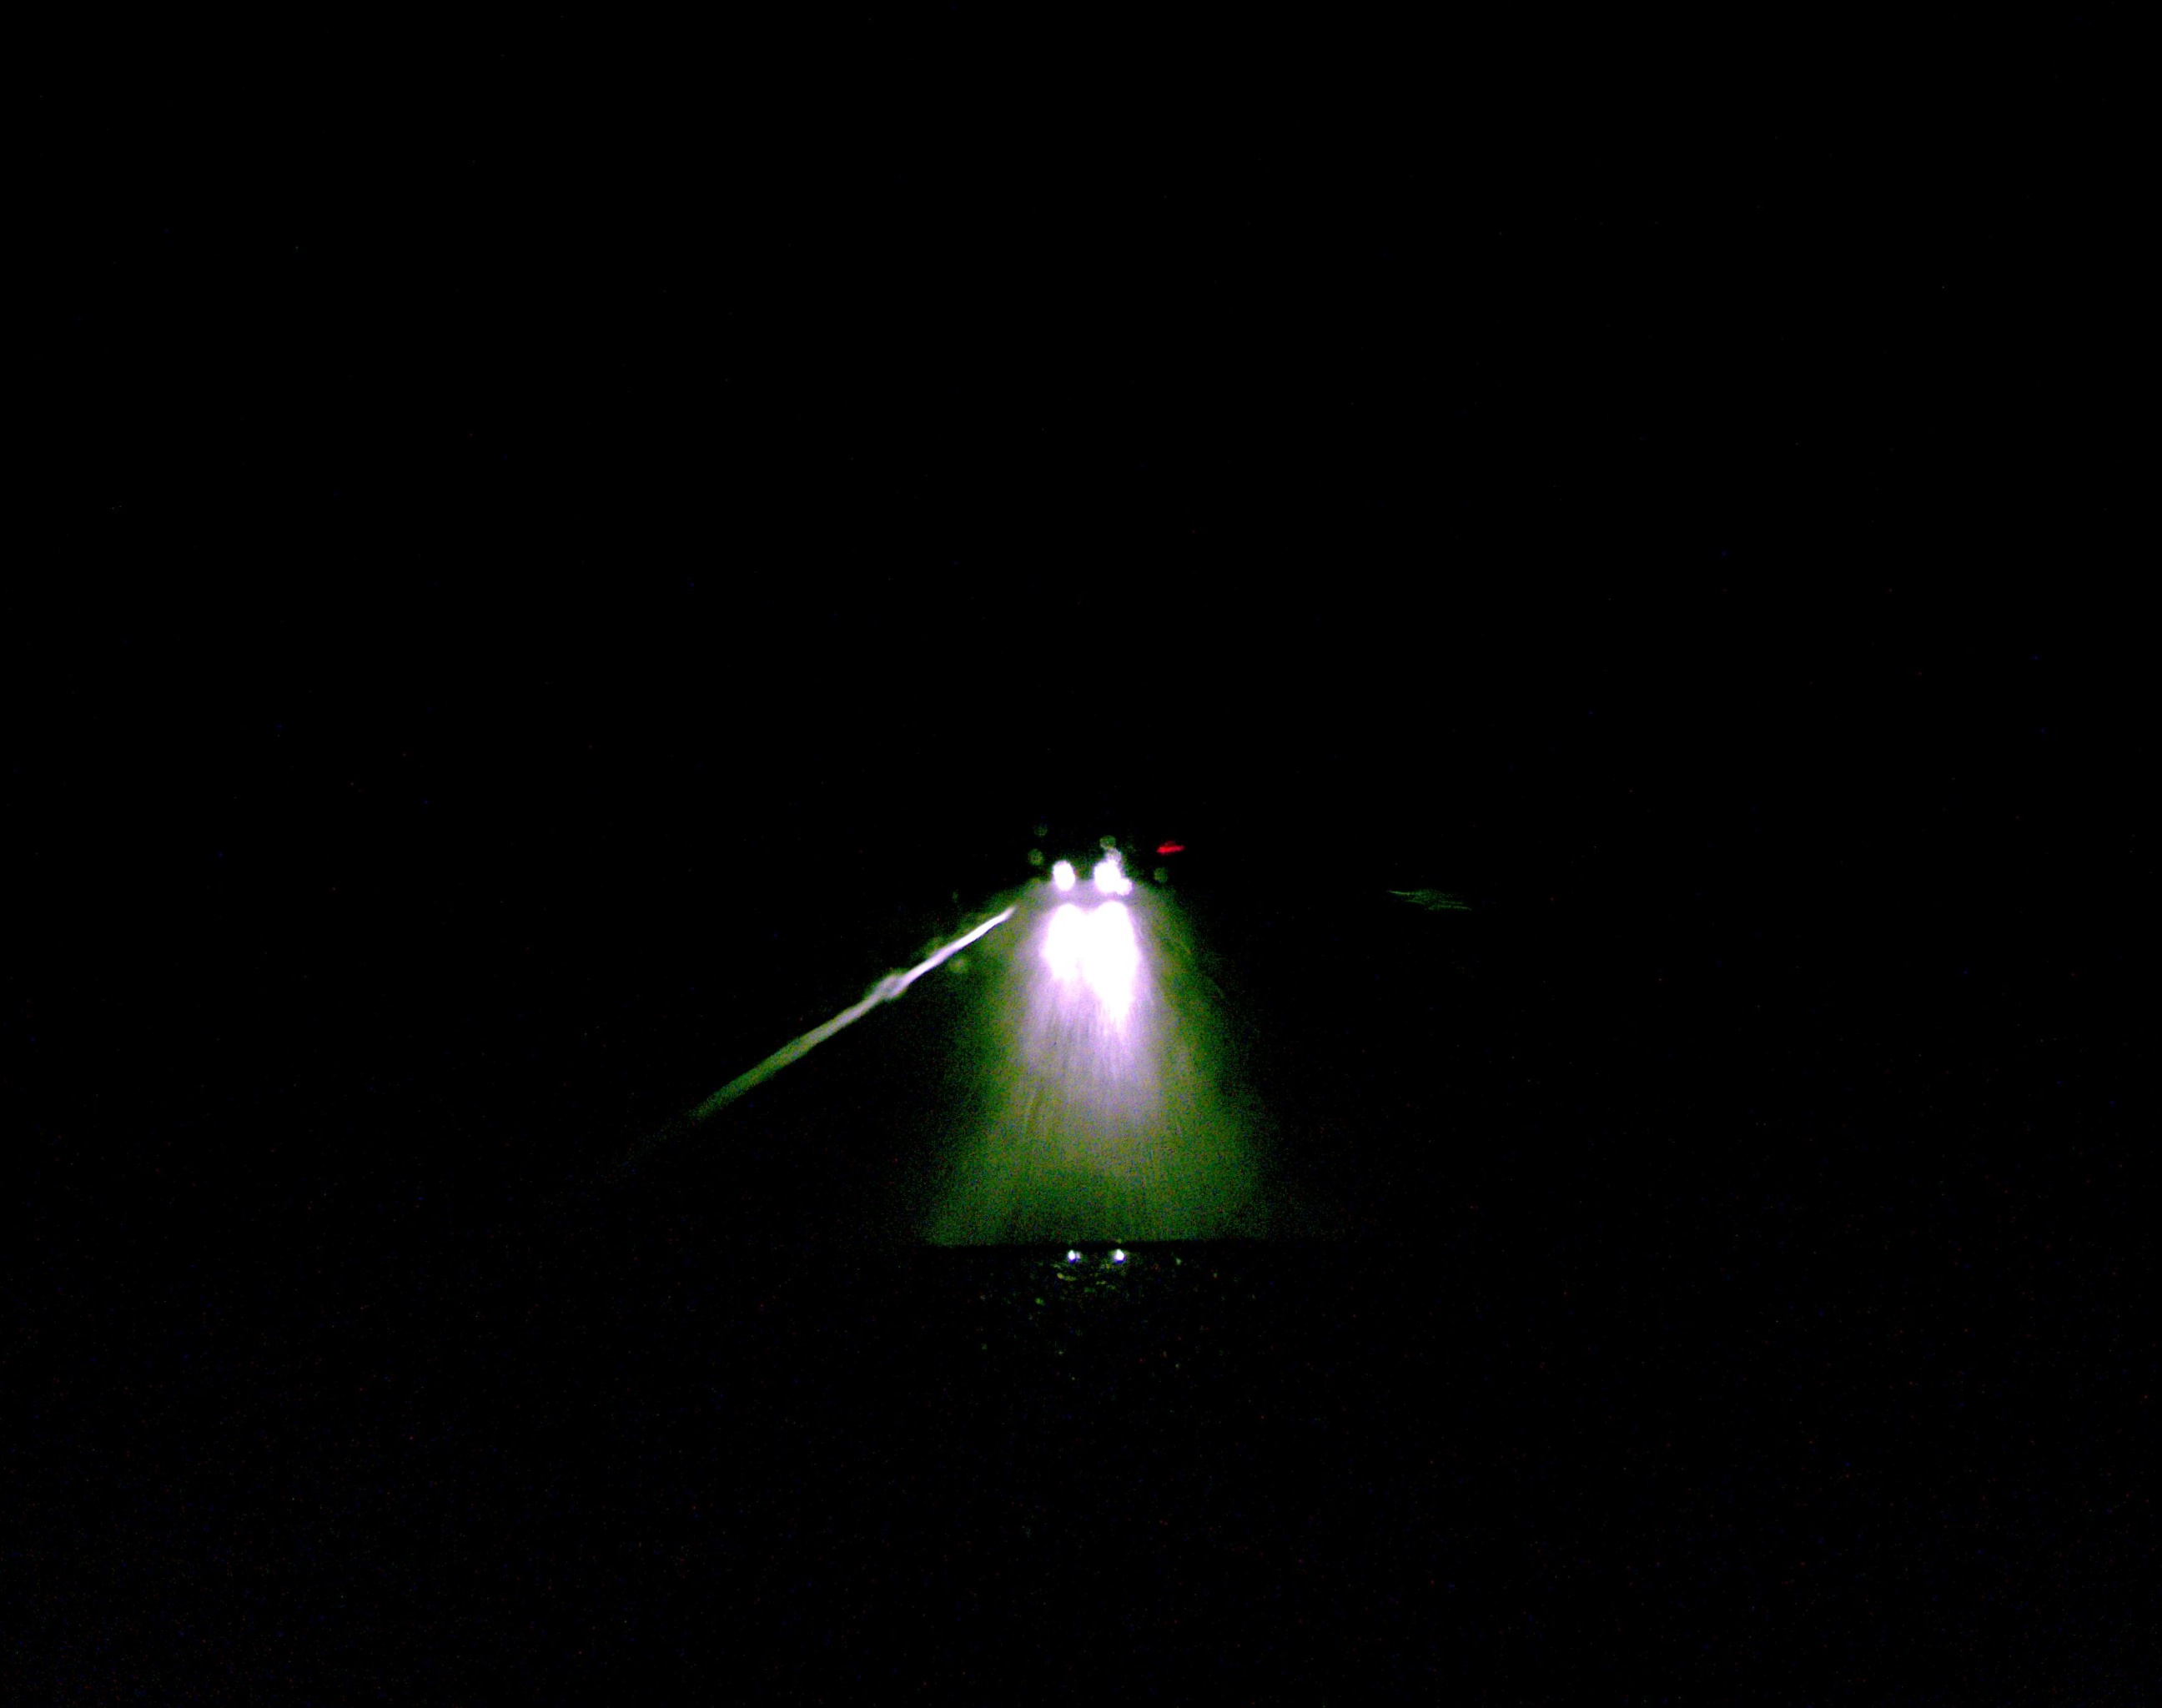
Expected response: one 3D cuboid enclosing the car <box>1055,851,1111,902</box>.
[{"bbox_3d":[0.148,0.835,27.750,1.793,1.593,4.002,-4,-2,2],"label":"car"}]
